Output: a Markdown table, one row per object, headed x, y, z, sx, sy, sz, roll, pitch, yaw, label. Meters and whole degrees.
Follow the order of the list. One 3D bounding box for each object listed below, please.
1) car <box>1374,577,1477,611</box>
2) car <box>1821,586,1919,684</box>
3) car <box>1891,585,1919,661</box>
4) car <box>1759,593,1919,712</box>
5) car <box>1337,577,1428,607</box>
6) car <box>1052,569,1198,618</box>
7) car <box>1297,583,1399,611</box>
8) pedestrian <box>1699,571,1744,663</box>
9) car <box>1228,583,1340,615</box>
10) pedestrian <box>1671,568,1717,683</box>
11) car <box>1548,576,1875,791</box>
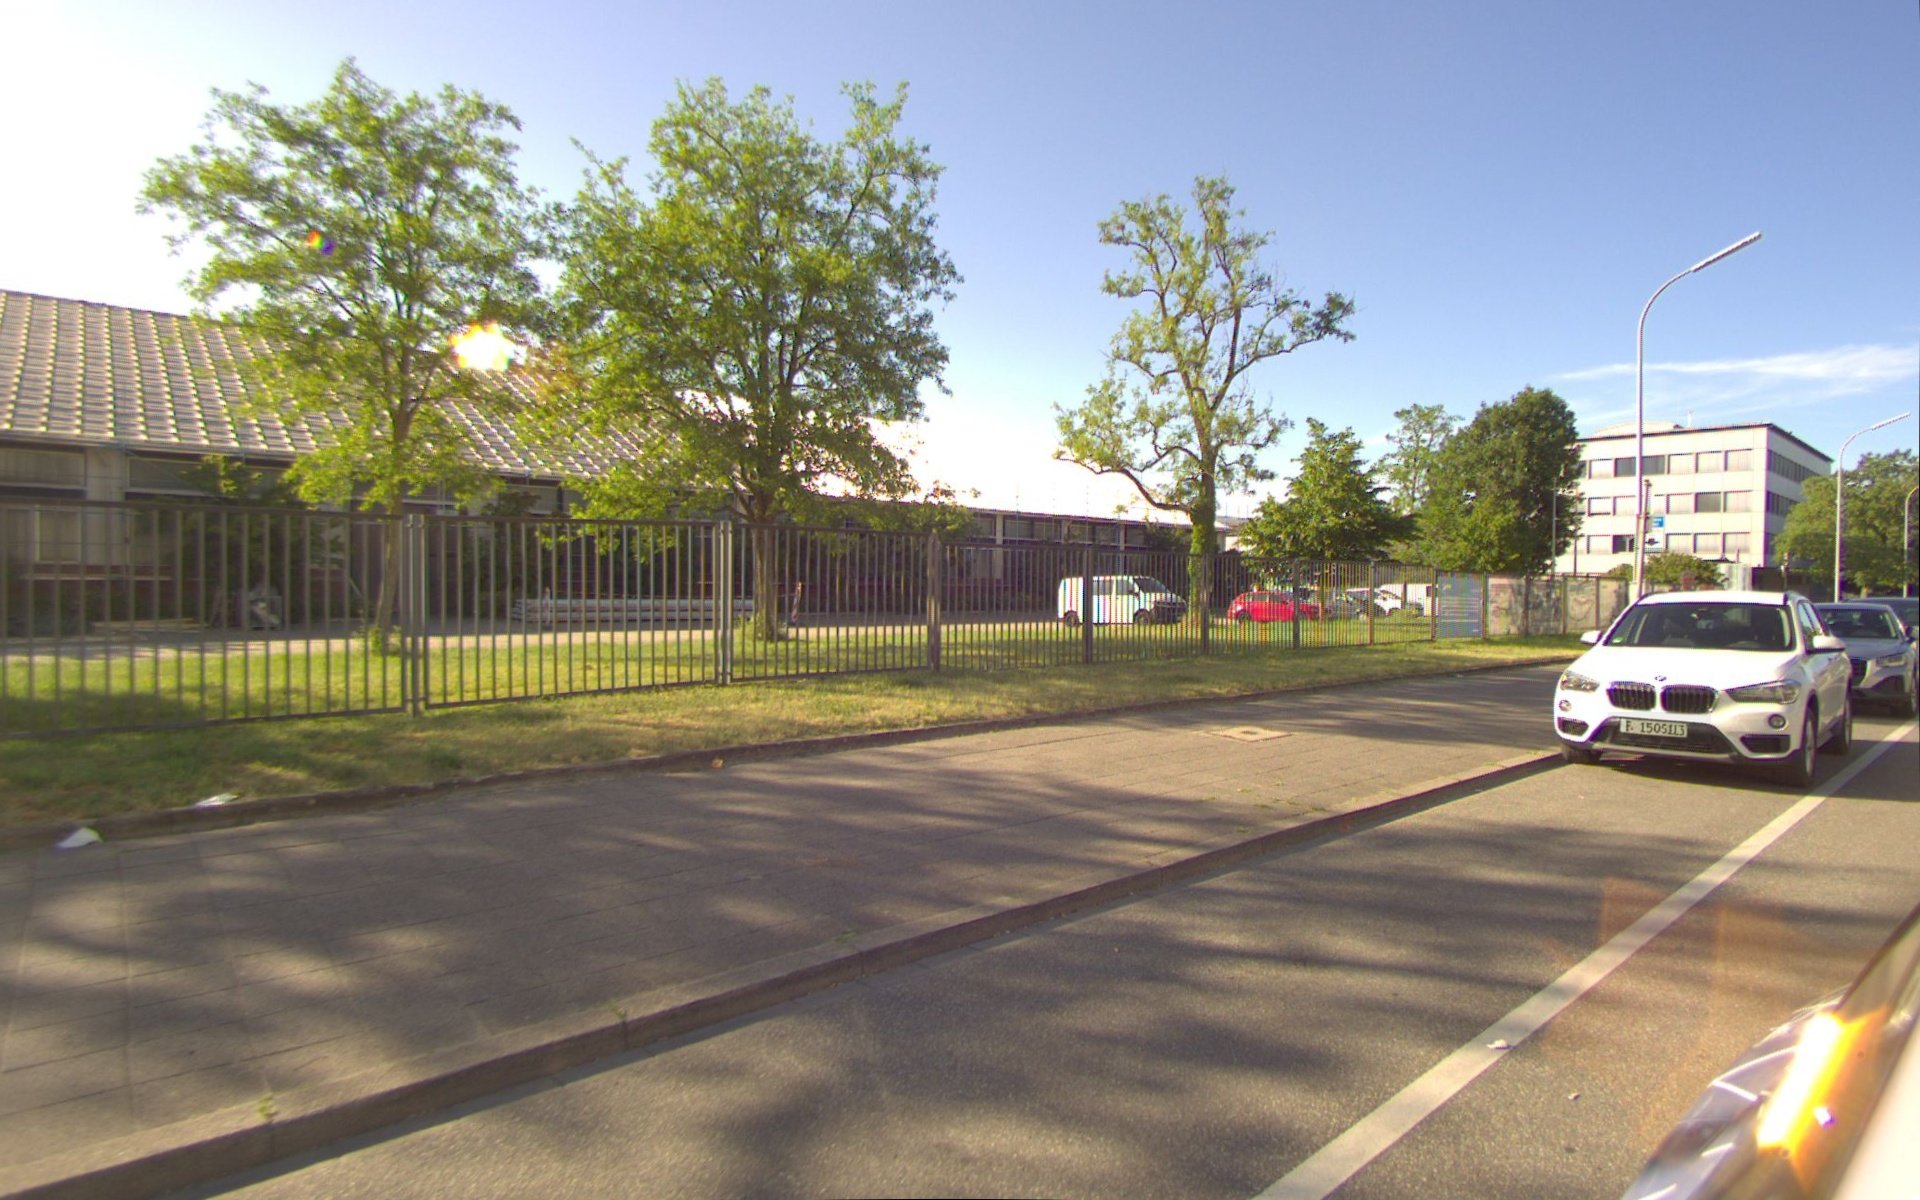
| x | y | z | sx | sy | sz | roll | pitch | yaw | label |
| --- | --- | --- | --- | --- | --- | --- | --- | --- | --- |
| 24.894 | -0.343 | 54.197 | 4.629 | 1.689 | 1.968 | 2 | 1 | 44 | car |
| 17.224 | 0.575 | 18.478 | 4.277 | 1.626 | 1.703 | 0 | 0 | -41 | car |
| 24.046 | 0.528 | 24.526 | 4.624 | 1.744 | 1.811 | 0 | 0 | -43 | car |
| 13.000 | 0.660 | 14.712 | 3.915 | 1.506 | 1.701 | 0 | 0 | -44 | car |
| 21.208 | -0.401 | 50.843 | 1.647 | 1.397 | 3.892 | 0 | 1 | -44 | car |
| 5.891 | -0.207 | 36.626 | 2.061 | 1.665 | 4.969 | 0 | 0 | -43 | car |
| 18.267 | -0.112 | 47.751 | 1.848 | 1.268 | 4.145 | 0 | 0 | -43 | car |
| 13.847 | 0.300 | 18.401 | 0.539 | 1.632 | 0.672 | -1 | 0 | 45 | pedestrian |
| 13.583 | -0.037 | 42.613 | 1.798 | 1.268 | 4.145 | 0 | 0 | -43 | car |
| 11.314 | 0.381 | 15.590 | 0.519 | 1.730 | 0.515 | -1 | 0 | 40 | pedestrian |
| 7.309 | 0.621 | 9.674 | 4.190 | 1.608 | 1.814 | 0 | 0 | -43 | car |
